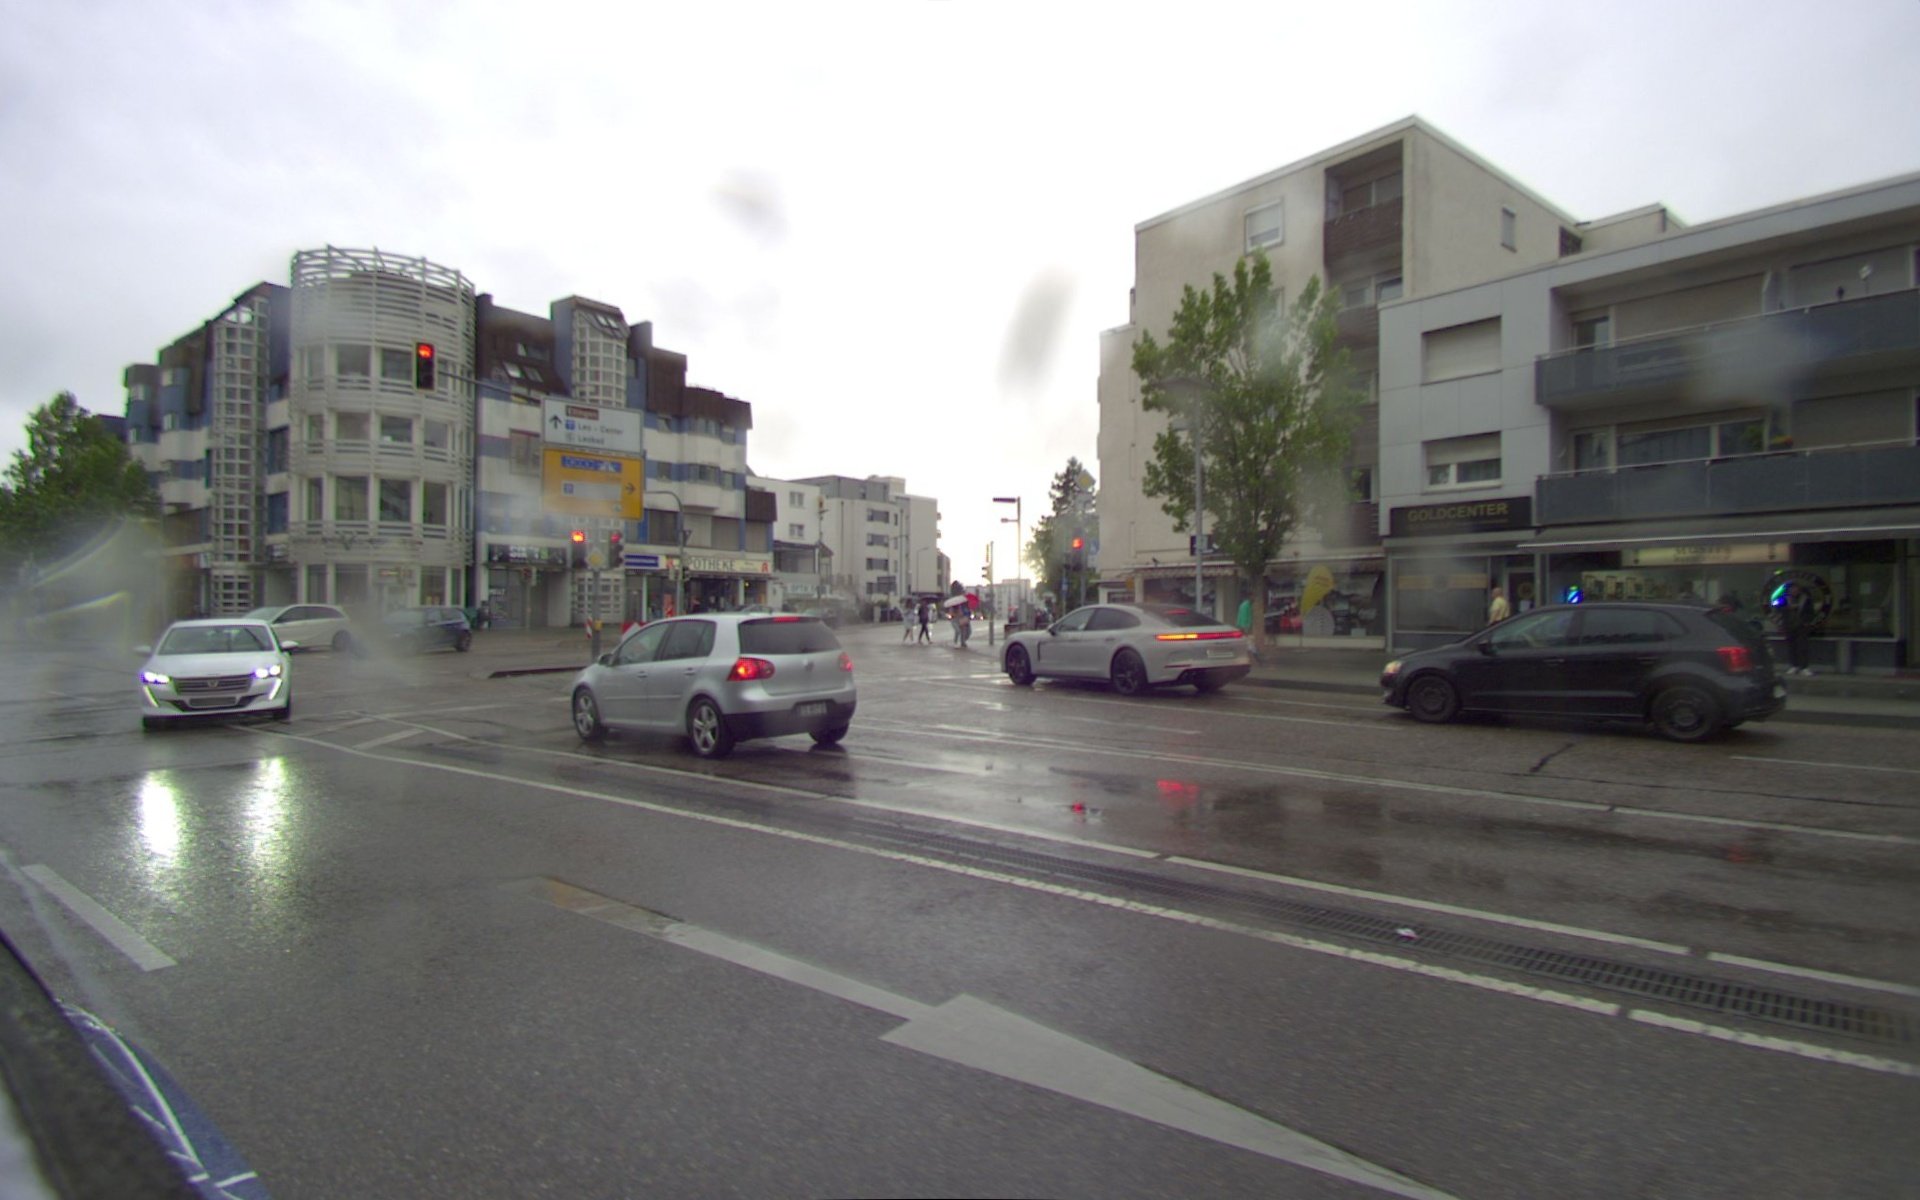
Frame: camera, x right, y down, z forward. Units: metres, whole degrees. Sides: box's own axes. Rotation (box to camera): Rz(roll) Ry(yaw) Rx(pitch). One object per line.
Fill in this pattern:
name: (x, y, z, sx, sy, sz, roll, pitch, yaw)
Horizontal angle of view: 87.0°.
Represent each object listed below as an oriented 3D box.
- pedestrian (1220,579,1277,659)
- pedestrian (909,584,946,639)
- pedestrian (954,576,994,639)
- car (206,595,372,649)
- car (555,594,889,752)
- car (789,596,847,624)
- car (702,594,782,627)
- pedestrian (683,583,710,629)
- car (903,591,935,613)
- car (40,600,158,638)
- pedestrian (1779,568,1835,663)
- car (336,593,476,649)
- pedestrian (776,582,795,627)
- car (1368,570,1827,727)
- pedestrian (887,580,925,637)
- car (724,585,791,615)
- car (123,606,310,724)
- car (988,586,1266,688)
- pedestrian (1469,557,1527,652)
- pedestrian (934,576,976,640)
pedestrian: (6.131, 0.392, 21.502, 0.994, 1.658, 0.728, -1, 0, -40)
pedestrian: (-1.161, 0.412, 36.008, 0.892, 1.929, 0.979, -1, -1, -40)
pedestrian: (0.456, 0.252, 33.102, 0.892, 2.029, 0.979, -1, -1, -40)
car: (-21.323, 0.669, 32.381, 1.748, 1.561, 4.302, -1, -1, 17)
car: (-2.806, 0.721, 11.421, 4.000, 1.462, 1.738, -2, -1, 43)
car: (-9.309, 0.636, 66.495, 1.742, 1.733, 3.853, -1, 0, 32)
car: (-10.290, 0.473, 48.015, 1.626, 1.501, 3.803, -1, 0, 28)
pedestrian: (-10.348, 0.226, 39.759, 0.825, 1.756, 0.586, -1, 1, -34)
car: (-4.009, 0.167, 98.171, 1.966, 2.029, 4.611, -1, 0, -16)
car: (-36.145, 0.779, 42.490, 3.963, 1.537, 1.892, -1, 0, 15)
pedestrian: (16.104, 0.296, 19.242, 0.540, 1.763, 0.682, -1, -1, -37)
car: (-16.572, 0.603, 30.498, 1.658, 1.554, 3.902, -1, -1, 9)
pedestrian: (-6.854, 0.171, 39.715, 0.672, 1.756, 0.586, -1, 1, -14)
car: (6.928, 0.479, 11.333, 1.736, 1.438, 4.005, -1, -1, -42)
pedestrian: (-1.885, 0.295, 35.408, 0.892, 1.929, 0.979, -1, -1, -40)
car: (-11.955, -0.011, 60.030, 1.742, 1.733, 3.853, -1, 0, 32)
car: (-11.075, 0.848, 14.972, 1.849, 1.473, 3.878, -1, 0, -42)
car: (2.569, 0.570, 16.937, 1.733, 1.437, 4.901, -1, -1, -33)
pedestrian: (11.782, 0.102, 22.171, 0.749, 2.029, 0.865, 0, -1, -41)
pedestrian: (-0.163, 0.254, 32.435, 0.892, 2.029, 0.979, -1, -1, -40)
